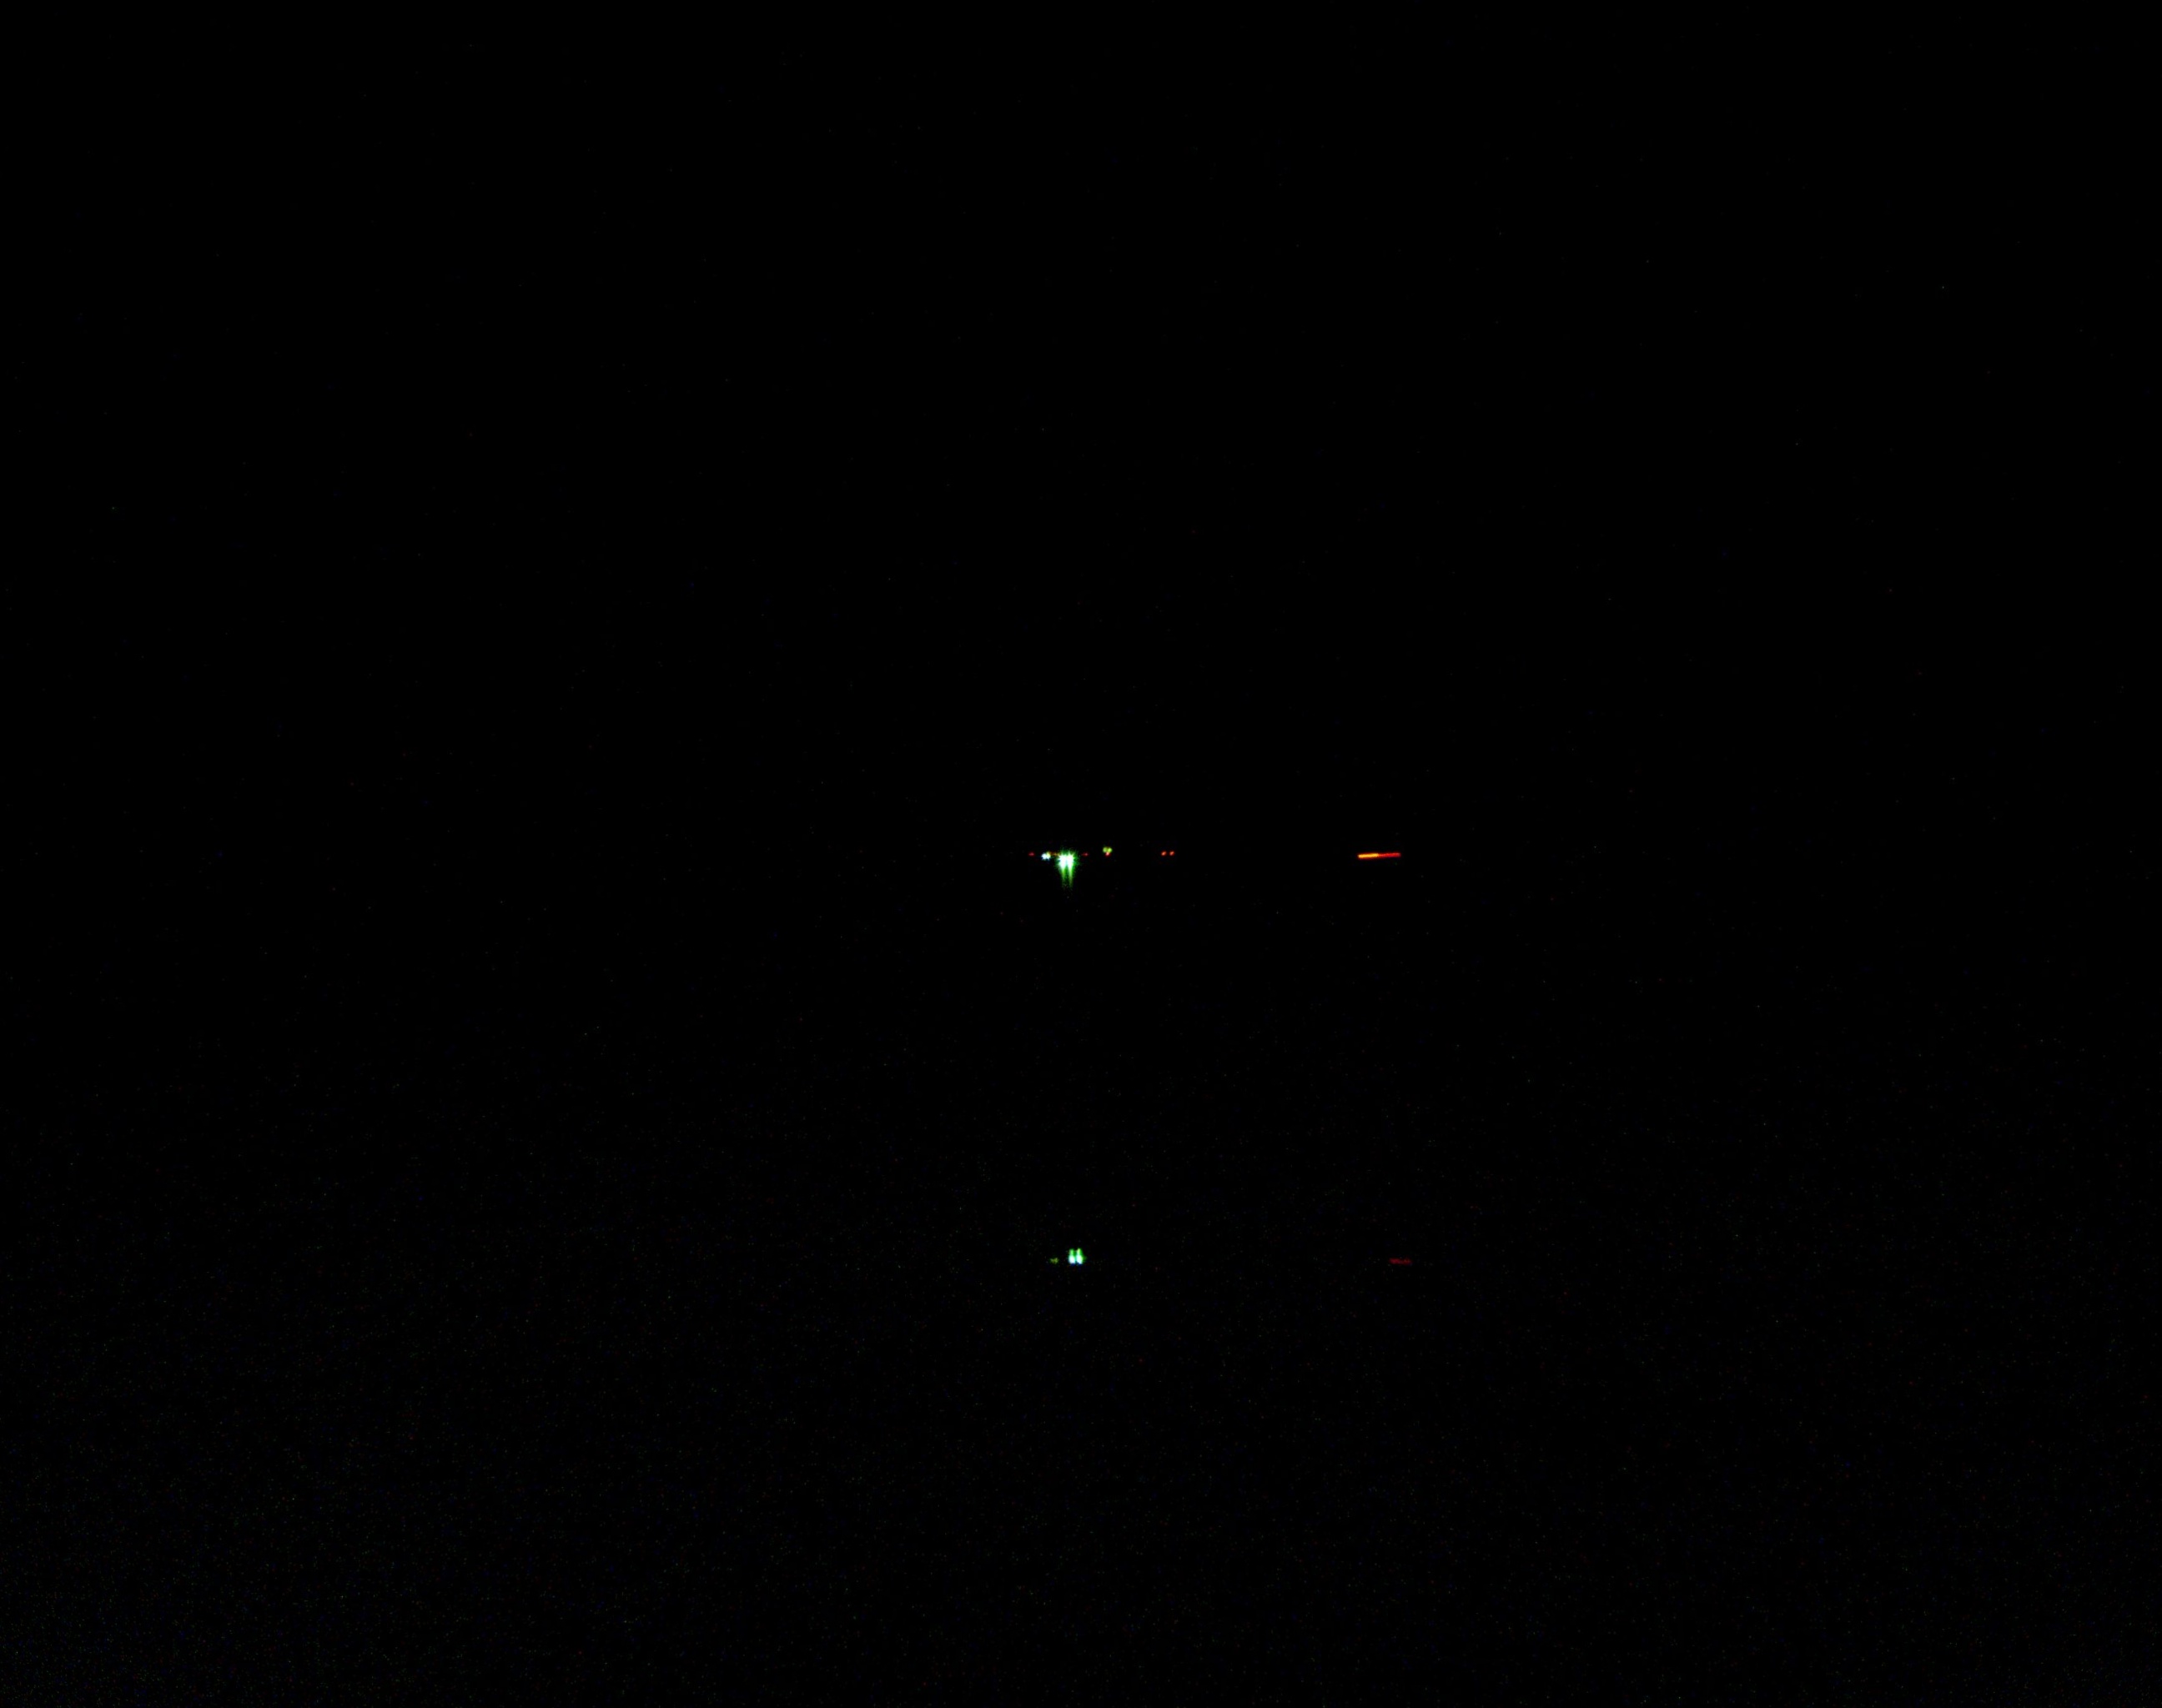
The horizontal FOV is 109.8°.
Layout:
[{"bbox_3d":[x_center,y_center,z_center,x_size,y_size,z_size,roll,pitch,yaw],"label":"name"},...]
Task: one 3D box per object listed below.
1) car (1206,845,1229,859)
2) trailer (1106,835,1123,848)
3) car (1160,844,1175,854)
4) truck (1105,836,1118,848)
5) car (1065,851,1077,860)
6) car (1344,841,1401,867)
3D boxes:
[{"bbox_3d":[15.515,-0.257,86.477,1.998,1.460,4.208,-2,1,3],"label":"car"},{"bbox_3d":[11.352,-4.235,259.316,3.553,3.977,17.271,-2,1,-5],"label":"trailer"},{"bbox_3d":[16.431,-0.898,144.268,1.999,1.776,4.397,-2,1,-3],"label":"car"},{"bbox_3d":[10.667,-4.296,266.867,3.512,3.947,6.695,-2,1,-5],"label":"truck"},{"bbox_3d":[-1.979,0.338,145.303,2.155,1.558,4.579,-2,1,-3],"label":"car"},{"bbox_3d":[19.547,-0.025,51.161,1.999,1.641,4.397,-2,1,-2],"label":"car"}]
